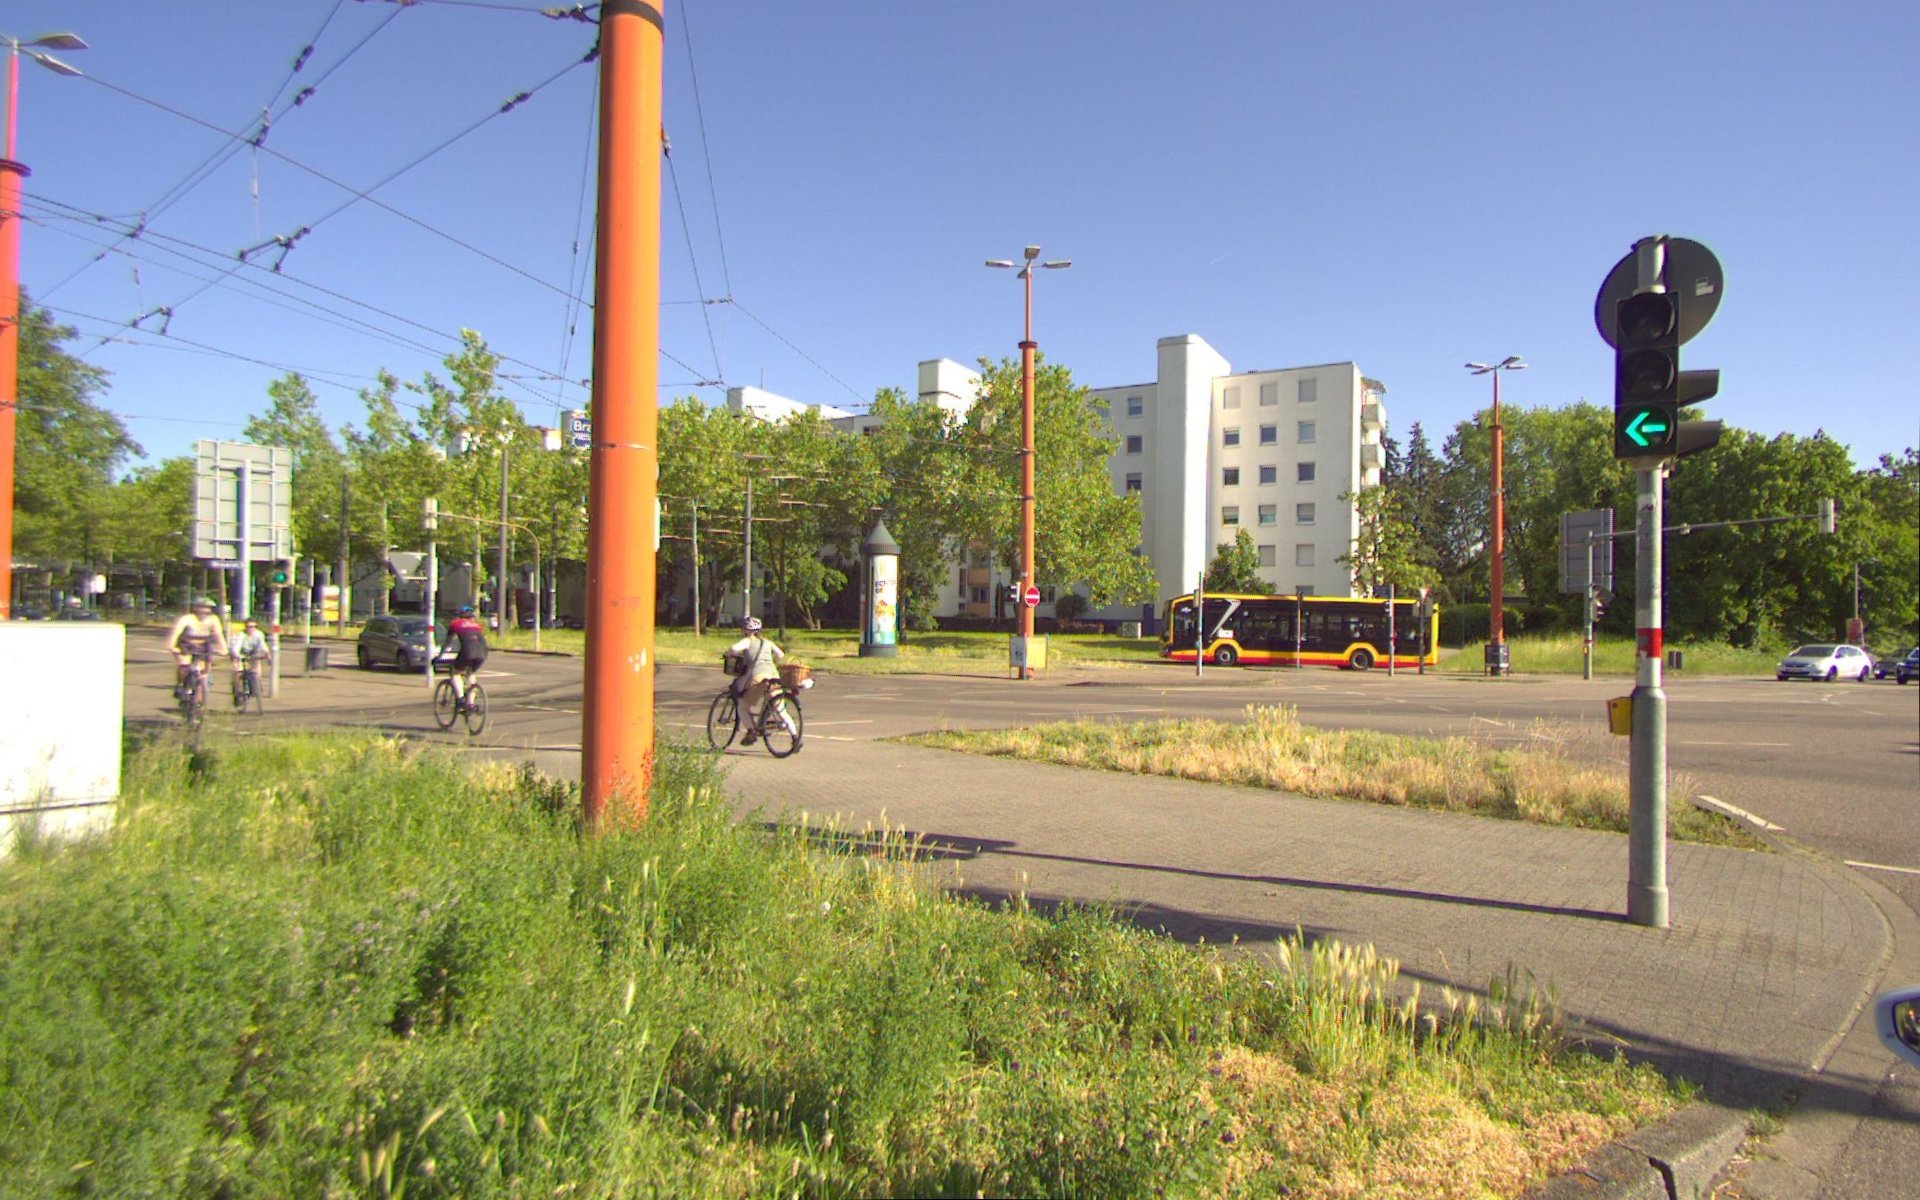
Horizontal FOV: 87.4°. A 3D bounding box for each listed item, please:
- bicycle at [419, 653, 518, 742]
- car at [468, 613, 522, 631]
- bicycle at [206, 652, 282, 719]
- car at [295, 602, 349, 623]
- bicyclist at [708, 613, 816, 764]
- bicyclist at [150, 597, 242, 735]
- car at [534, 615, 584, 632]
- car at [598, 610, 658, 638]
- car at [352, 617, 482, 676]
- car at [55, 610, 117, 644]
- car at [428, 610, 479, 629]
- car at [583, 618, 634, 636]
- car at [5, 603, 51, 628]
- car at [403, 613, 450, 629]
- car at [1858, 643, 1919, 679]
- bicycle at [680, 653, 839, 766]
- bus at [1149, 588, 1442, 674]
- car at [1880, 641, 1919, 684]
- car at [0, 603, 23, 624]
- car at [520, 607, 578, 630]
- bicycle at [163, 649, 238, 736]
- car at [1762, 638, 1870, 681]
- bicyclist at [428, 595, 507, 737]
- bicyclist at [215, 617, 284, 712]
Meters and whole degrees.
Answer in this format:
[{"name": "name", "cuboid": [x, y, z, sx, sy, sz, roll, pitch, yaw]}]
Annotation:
[{"name": "bicycle", "cuboid": [-7.083, 1.362, 14.429, 0.687, 1.086, 1.890, 2, 0, -45]}, {"name": "car", "cuboid": [-38.547, 1.854, 83.300, 3.664, 1.349, 1.496, 2, 0, -6]}, {"name": "bicycle", "cuboid": [-12.345, 1.444, 17.299, 1.886, 1.085, 0.577, -2, -2, 38]}, {"name": "car", "cuboid": [-65.450, 1.287, 103.076, 4.272, 2.010, 1.933, 1, -1, -17]}, {"name": "bicyclist", "cuboid": [-2.290, 0.984, 11.652, 0.814, 1.643, 0.889, 1, -1, 37]}, {"name": "bicyclist", "cuboid": [-11.125, 0.932, 14.623, 0.911, 1.892, 0.888, 2, 0, 43]}, {"name": "car", "cuboid": [-30.776, 1.824, 77.116, 3.344, 1.162, 1.305, 2, 0, -12]}, {"name": "car", "cuboid": [-23.696, 1.699, 71.764, 3.872, 1.841, 1.652, 2, 0, -12]}, {"name": "car", "cuboid": [-16.422, 1.361, 30.325, 3.979, 1.516, 1.912, 2, 0, 36]}, {"name": "car", "cuboid": [-43.792, 1.362, 50.297, 3.943, 1.516, 1.908, 2, 0, 42]}, {"name": "car", "cuboid": [-42.913, 1.675, 85.142, 3.590, 1.480, 1.609, 2, 0, -17]}, {"name": "car", "cuboid": [-25.804, 1.985, 73.843, 3.278, 1.149, 1.322, 2, 0, -9]}, {"name": "car", "cuboid": [-62.911, 1.024, 67.788, 3.942, 1.516, 1.908, 2, 0, 42]}, {"name": "car", "cuboid": [-46.227, 1.823, 87.095, 3.368, 1.204, 1.440, 2, 0, -21]}, {"name": "car", "cuboid": [42.359, 2.718, 45.032, 3.949, 1.533, 1.878, 2, -3, -28]}, {"name": "bicycle", "cuboid": [-2.350, 1.225, 11.667, 1.885, 1.146, 0.737, 0, -1, 38]}, {"name": "bus", "cuboid": [15.024, 1.371, 45.707, 12.283, 3.304, 2.656, 2, 0, 4]}, {"name": "car", "cuboid": [36.305, 2.322, 37.440, 3.811, 1.535, 1.794, 2, -3, -28]}, {"name": "car", "cuboid": [-75.822, 1.078, 79.694, 3.942, 1.516, 1.837, 2, 0, 42]}, {"name": "car", "cuboid": [-32.369, 1.470, 79.161, 3.867, 1.614, 1.657, 2, 0, -6]}, {"name": "bicycle", "cuboid": [-11.117, 1.316, 14.687, 1.889, 1.086, 0.576, 2, 0, 44]}, {"name": "car", "cuboid": [34.458, 2.390, 40.418, 4.165, 1.673, 1.870, 2, -3, -27]}, {"name": "bicyclist", "cuboid": [-7.072, 0.911, 14.409, 0.682, 1.938, 0.978, 2, 0, -45]}, {"name": "bicyclist", "cuboid": [-12.201, 1.079, 17.239, 0.910, 1.545, 0.717, 2, 0, 39]}]
